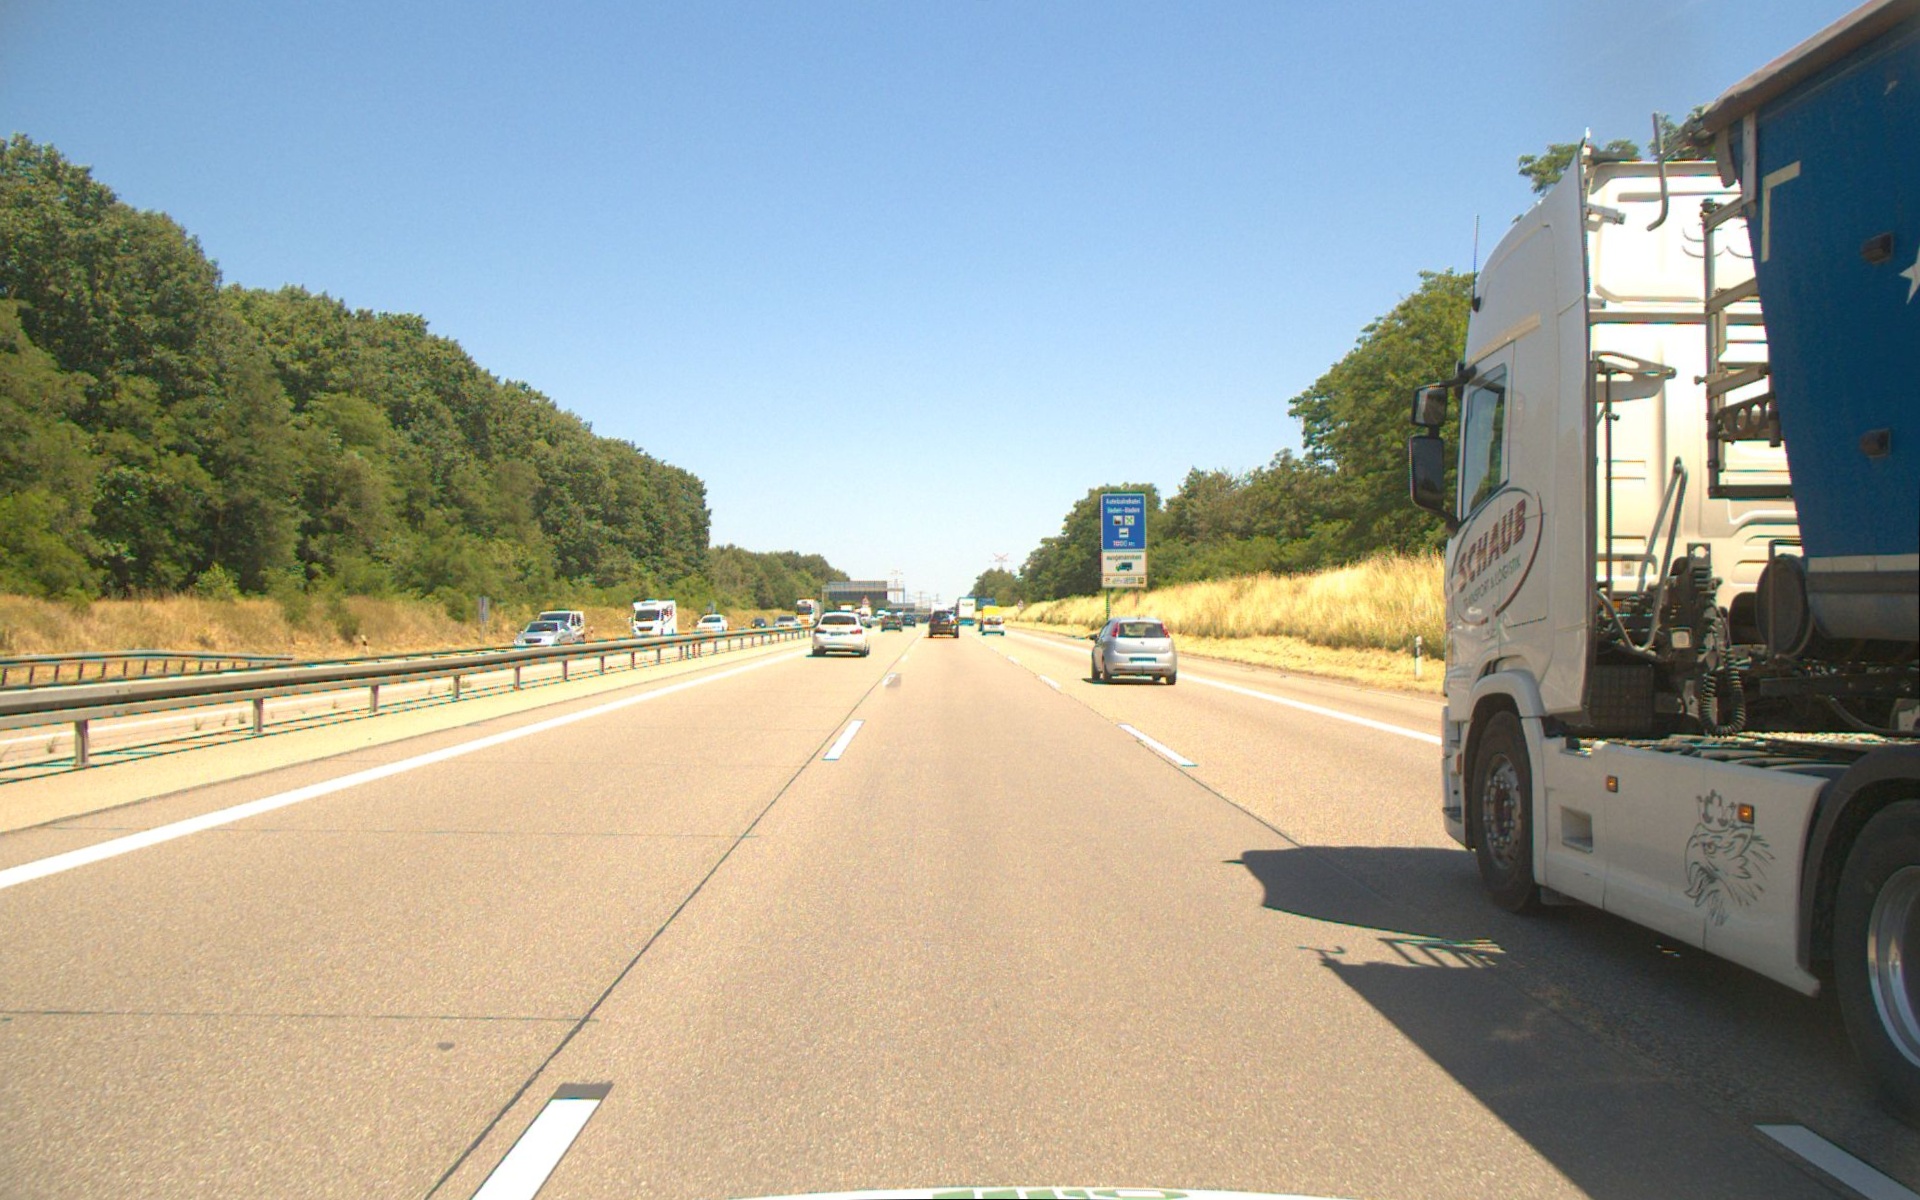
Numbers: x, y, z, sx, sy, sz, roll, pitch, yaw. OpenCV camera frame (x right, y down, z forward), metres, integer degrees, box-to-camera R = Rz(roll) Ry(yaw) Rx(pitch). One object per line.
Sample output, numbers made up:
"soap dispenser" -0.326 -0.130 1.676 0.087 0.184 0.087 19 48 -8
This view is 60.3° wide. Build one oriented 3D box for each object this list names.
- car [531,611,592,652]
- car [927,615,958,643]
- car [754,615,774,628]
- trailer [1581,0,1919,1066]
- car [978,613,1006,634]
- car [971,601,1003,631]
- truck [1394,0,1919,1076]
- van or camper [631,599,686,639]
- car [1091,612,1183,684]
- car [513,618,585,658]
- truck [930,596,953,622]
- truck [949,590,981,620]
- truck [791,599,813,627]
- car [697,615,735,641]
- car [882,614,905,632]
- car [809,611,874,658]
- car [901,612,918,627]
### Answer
"car" -21.131 1.651 87.946 1.953 1.987 5.243 -2 0 -1
"car" -1.156 1.832 104.987 1.795 1.701 3.998 1 -1 -3
"car" -22.563 2.468 190.214 1.777 1.420 4.110 -2 0 -1
"trailer" 4.189 -0.530 2.950 2.681 3.824 9.107 0 0 -1
"car" 2.369 1.773 124.328 1.785 1.518 3.734 1 -1 -4
"car" 2.491 1.458 152.922 2.613 2.680 6.109 1 -1 -2
"truck" 4.145 -0.506 7.760 2.629 3.824 5.943 0 0 0
"van or camper" -21.211 1.346 116.714 2.412 2.620 7.768 -2 0 -1
"car" 4.014 1.064 38.024 1.684 1.517 3.737 1 0 0
"car" -17.358 1.586 70.117 1.814 1.554 5.203 -1 0 -1
"truck" -2.176 1.064 190.002 2.380 2.935 6.201 1 -1 -2
"truck" 0.691 0.766 252.867 3.915 4.391 9.869 2 -1 -5
"truck" -24.427 2.020 256.471 2.846 4.138 5.651 -2 -1 -2
"car" -17.784 2.016 120.708 1.953 1.724 5.243 -2 0 -1
"car" -5.596 1.912 139.459 1.794 1.457 4.998 1 0 -1
"car" -4.062 1.165 57.485 1.924 1.530 5.403 1 -1 -1
"car" -5.838 2.230 191.555 1.837 1.608 3.928 0 0 0
